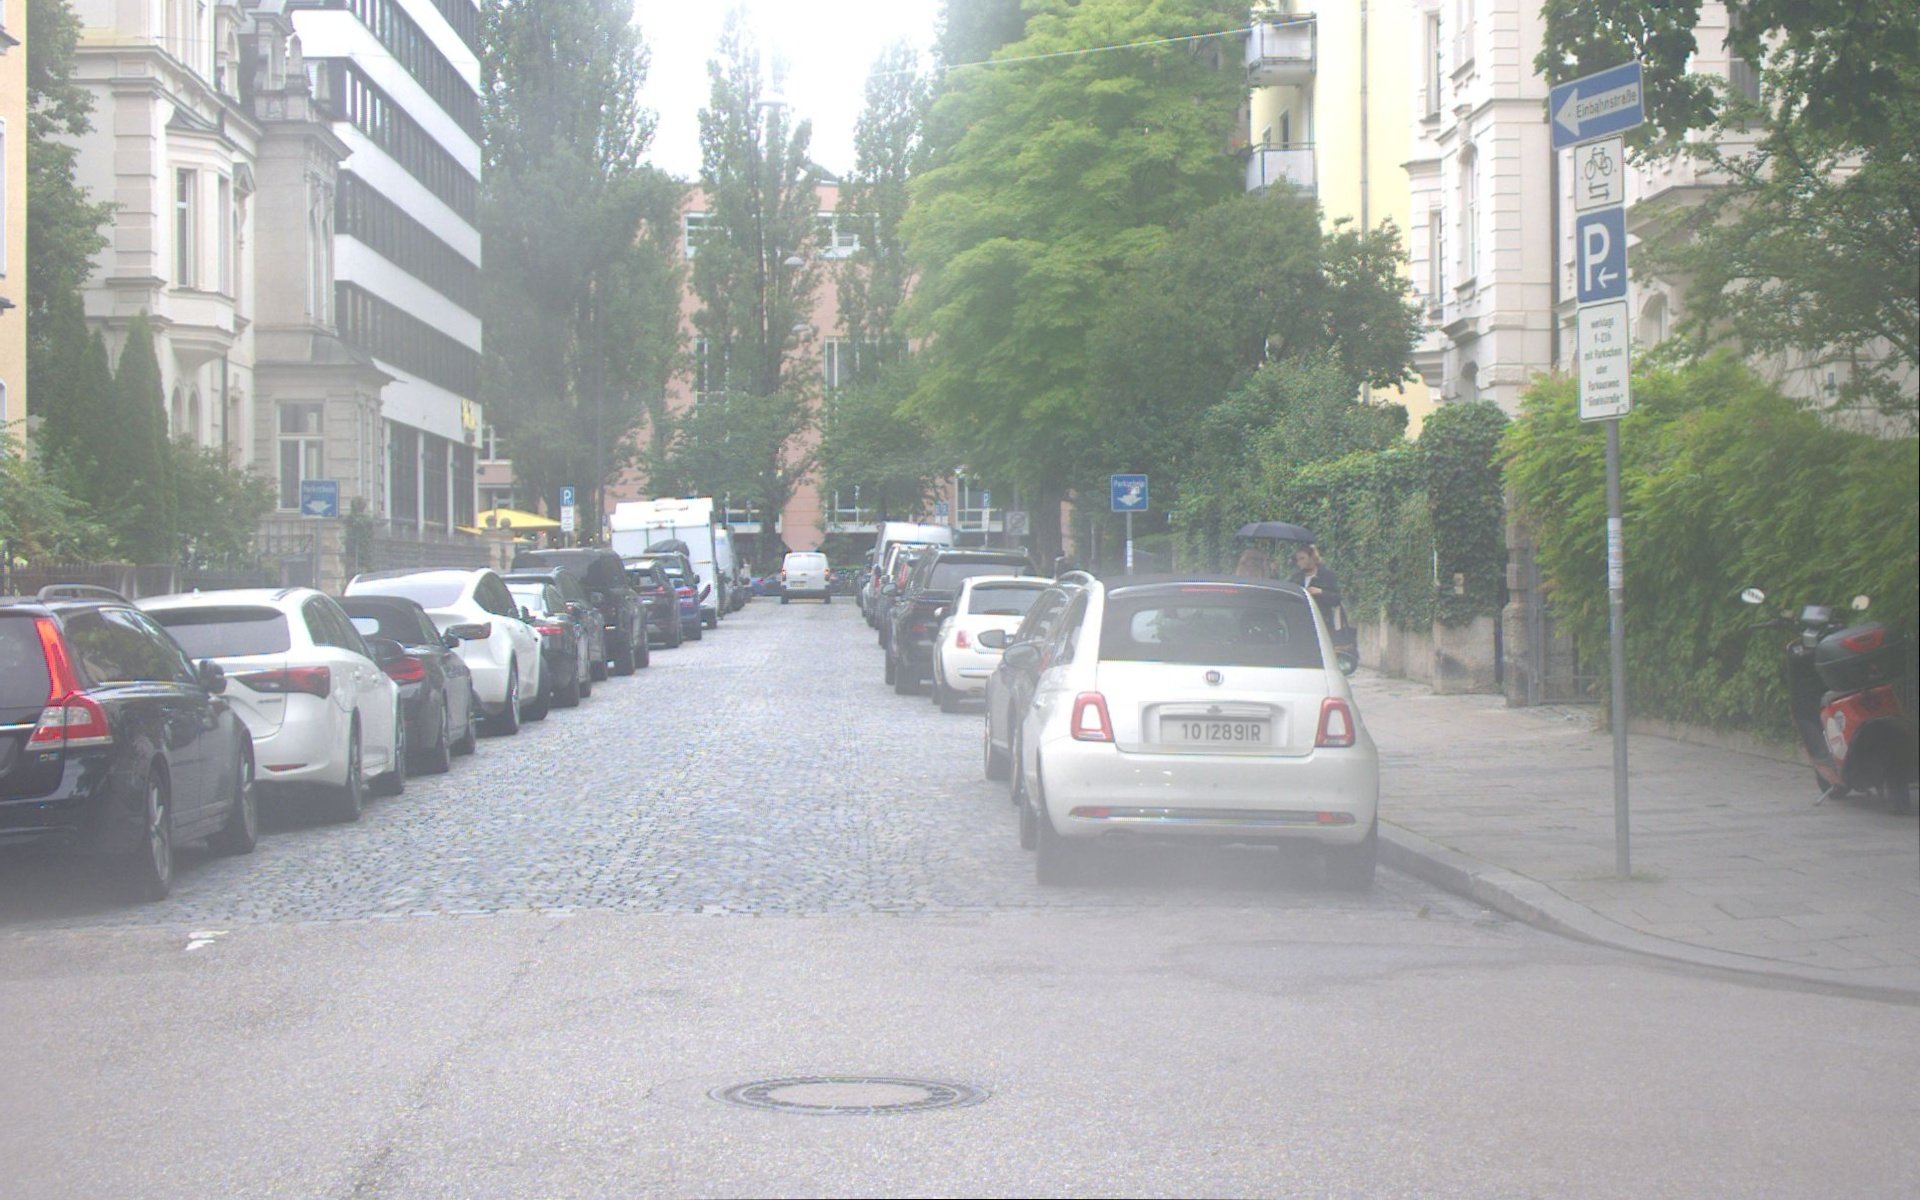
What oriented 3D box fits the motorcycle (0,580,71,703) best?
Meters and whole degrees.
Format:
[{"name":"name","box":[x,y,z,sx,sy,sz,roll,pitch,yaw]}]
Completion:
[{"name":"motorcycle","box":[-9.261,0.398,34.226,0.491,1.190,1.579,0,1,-3]}]

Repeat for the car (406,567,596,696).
[{"name":"car","box":[-5.282,0.339,40.001,1.773,1.424,4.391,0,0,-2]}]

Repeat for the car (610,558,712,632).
[{"name":"car","box":[-6.042,-0.103,69.788,1.939,1.454,4.058,0,0,-3]}]

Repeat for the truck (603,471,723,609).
[{"name":"truck","box":[-6.942,-1.410,80.932,2.508,3.021,6.385,-2,1,-3]}]

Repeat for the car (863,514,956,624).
[{"name":"car","box":[-1.238,-0.775,82.324,1.895,2.418,5.612,3,1,-3]}]

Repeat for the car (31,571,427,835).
[{"name":"car","box":[-4.667,0.601,22.565,1.773,1.531,4.541,-1,0,-2]}]

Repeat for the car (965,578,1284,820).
[{"name":"car","box":[1.026,0.606,23.642,1.648,1.417,4.633,3,0,-3]}]

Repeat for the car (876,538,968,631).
[{"name":"car","box":[-0.878,-0.349,76.877,1.800,1.943,4.861,3,0,-3]}]

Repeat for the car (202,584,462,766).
[{"name":"car","box":[-5.004,0.554,27.865,1.773,1.355,4.392,0,0,-6]}]

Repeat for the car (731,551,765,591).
[{"name":"car","box":[-8.367,-1.137,135.688,1.276,1.536,3.119,0,0,-2]}]

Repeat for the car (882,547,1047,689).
[{"name":"car","box":[-0.006,0.200,43.386,1.875,1.667,5.491,0,0,-2]}]

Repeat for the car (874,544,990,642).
[{"name":"car","box":[-0.557,-0.136,63.955,1.963,1.753,4.955,0,0,-3]}]

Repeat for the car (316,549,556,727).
[{"name":"car","box":[-5.077,0.342,33.822,1.773,1.642,4.391,0,0,-1]}]

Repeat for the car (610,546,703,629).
[{"name":"car","box":[-6.553,-0.283,74.571,1.893,1.745,4.168,0,1,-4]}]

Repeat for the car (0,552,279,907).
[{"name":"car","box":[-4.754,0.566,17.662,1.852,1.581,4.749,0,0,-4]}]

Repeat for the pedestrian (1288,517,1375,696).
[{"name":"pedestrian","box":[3.778,0.064,34.954,0.628,1.802,0.660,0,0,-25]}]

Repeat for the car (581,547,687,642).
[{"name":"car","box":[-6.075,-0.107,64.417,1.773,1.712,4.391,0,0,-3]}]

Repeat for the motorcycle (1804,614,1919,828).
[{"name":"motorcycle","box":[4.860,0.625,18.365,0.362,1.086,1.403,0,0,0]}]

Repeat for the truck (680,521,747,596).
[{"name":"truck","box":[-7.848,-1.310,109.660,1.993,2.338,4.068,0,0,-2]}]

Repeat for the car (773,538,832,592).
[{"name":"car","box":[-5.701,-1.264,124.752,1.996,1.929,4.000,0,0,-1]}]

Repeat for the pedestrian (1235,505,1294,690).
[{"name":"pedestrian","box":[3.075,-0.029,34.652,0.576,1.844,0.681,0,1,6]}]

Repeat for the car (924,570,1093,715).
[{"name":"car","box":[0.490,0.439,37.951,1.630,1.464,3.659,2,0,-2]}]

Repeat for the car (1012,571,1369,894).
[{"name":"car","box":[1.083,0.600,17.620,1.502,1.466,3.795,0,0,-1]}]
